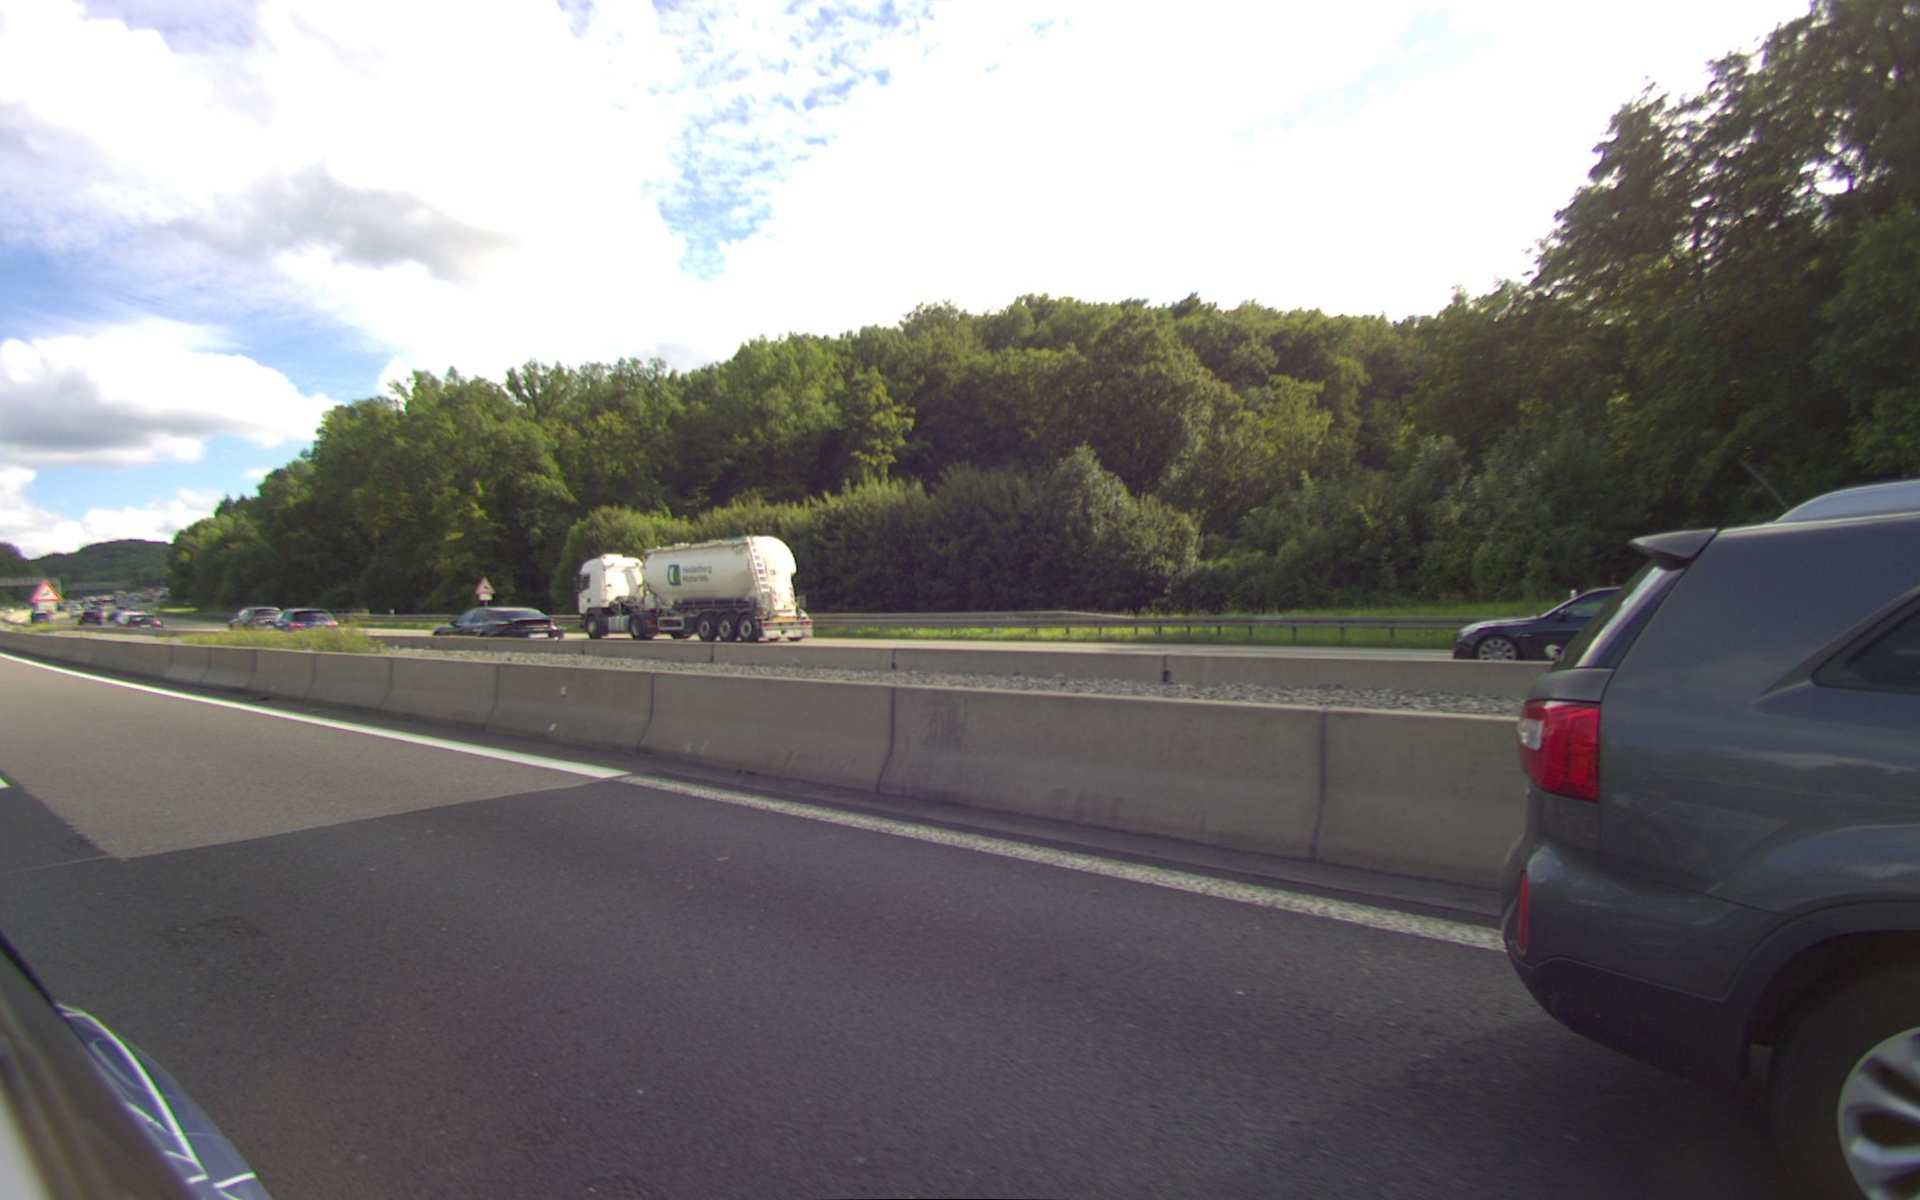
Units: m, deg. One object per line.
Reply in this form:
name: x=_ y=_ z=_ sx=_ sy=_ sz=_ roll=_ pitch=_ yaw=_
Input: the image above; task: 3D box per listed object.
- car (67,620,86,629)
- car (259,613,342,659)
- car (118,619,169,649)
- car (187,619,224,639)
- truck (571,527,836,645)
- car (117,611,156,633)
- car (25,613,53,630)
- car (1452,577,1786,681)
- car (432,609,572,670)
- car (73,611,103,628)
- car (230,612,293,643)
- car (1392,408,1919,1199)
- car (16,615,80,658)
car: x=-143.923 y=3.982 z=164.886 sx=3.999 sy=1.517 sz=1.787 roll=-1 pitch=0 yaw=42
car: x=-23.970 y=1.276 z=36.738 sx=3.842 sy=1.542 sz=1.581 roll=-1 pitch=0 yaw=42
car: x=-44.703 y=1.851 z=55.391 sx=4.064 sy=1.509 sz=1.580 roll=-1 pitch=0 yaw=43
car: x=-53.942 y=2.060 z=72.324 sx=3.302 sy=1.351 sz=1.468 roll=-1 pitch=0 yaw=42
truck: x=-10.896 y=-0.437 z=41.240 sx=13.675 sy=4.158 sz=3.414 roll=-1 pitch=0 yaw=42
car: x=-69.322 y=1.834 z=85.162 sx=4.001 sy=1.767 sz=2.076 roll=-1 pitch=0 yaw=44
car: x=-103.083 y=2.410 z=113.241 sx=4.001 sy=1.767 sz=2.097 roll=-1 pitch=0 yaw=44
car: x=10.673 y=0.442 z=16.584 sx=4.341 sy=1.476 sz=1.880 roll=-1 pitch=0 yaw=42
car: x=-12.424 y=1.034 z=27.322 sx=4.537 sy=1.489 sz=1.748 roll=-1 pitch=0 yaw=42
car: x=-96.510 y=2.192 z=111.991 sx=4.001 sy=1.767 sz=2.076 roll=-1 pitch=0 yaw=44
car: x=-37.234 y=1.468 z=53.910 sx=4.547 sy=1.542 sz=1.813 roll=-1 pitch=0 yaw=43
car: x=3.655 y=0.456 z=1.552 sx=5.185 sy=1.749 sz=1.798 roll=-2 pitch=-1 yaw=42
car: x=-46.514 y=1.859 z=51.597 sx=3.999 sy=2.050 sz=1.972 roll=-2 pitch=-1 yaw=42
